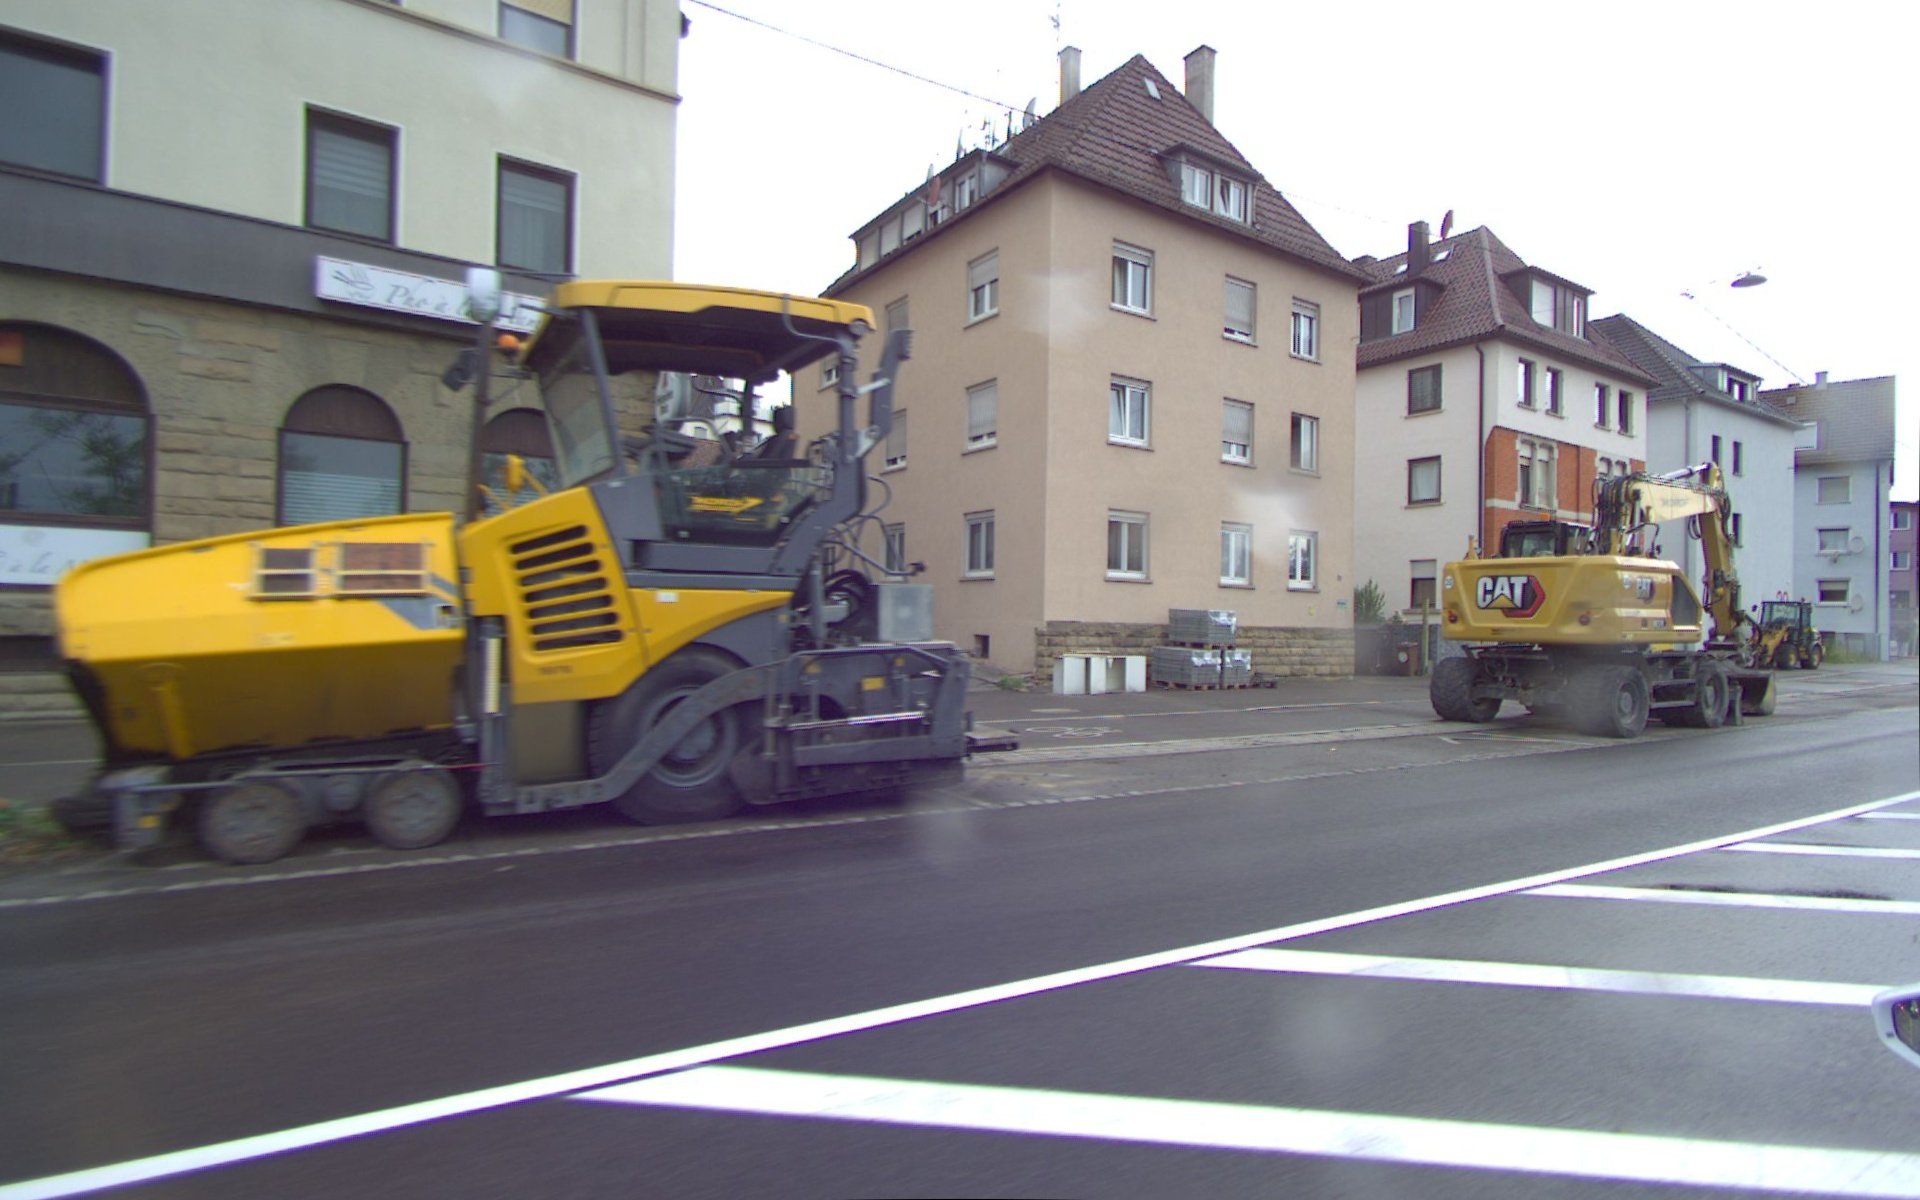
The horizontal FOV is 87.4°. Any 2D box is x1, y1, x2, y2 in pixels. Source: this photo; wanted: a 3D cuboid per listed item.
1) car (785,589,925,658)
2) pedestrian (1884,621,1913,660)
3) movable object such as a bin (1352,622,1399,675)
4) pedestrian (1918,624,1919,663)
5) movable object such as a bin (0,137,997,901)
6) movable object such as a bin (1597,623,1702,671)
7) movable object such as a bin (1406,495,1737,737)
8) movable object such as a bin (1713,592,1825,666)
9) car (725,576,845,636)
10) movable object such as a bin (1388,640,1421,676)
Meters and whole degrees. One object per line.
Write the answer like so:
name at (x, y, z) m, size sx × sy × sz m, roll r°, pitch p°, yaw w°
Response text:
car at (-2.587, 0.490, 23.923) m, size 1.832 × 1.461 × 3.965 m, roll -1°, pitch 1°, yaw -31°
pedestrian at (50.487, 2.163, 54.039) m, size 1.068 × 2.041 × 1.045 m, roll 1°, pitch 2°, yaw 44°
movable object such as a bin at (11.727, 1.357, 28.352) m, size 0.949 × 1.431 × 0.847 m, roll -1°, pitch 2°, yaw -38°
pedestrian at (50.628, 2.281, 52.146) m, size 1.044 × 2.041 × 1.196 m, roll -1°, pitch 2°, yaw -41°
movable object such as a bin at (-2.941, -0.441, 7.801) m, size 5.914 × 3.908 × 2.762 m, roll -1°, pitch 1°, yaw -29°
movable object such as a bin at (22.111, 1.523, 32.169) m, size 3.962 × 1.372 × 1.542 m, roll 3°, pitch -1°, yaw -36°
movable object such as a bin at (9.520, 0.248, 15.676) m, size 4.080 × 3.215 × 2.855 m, roll 2°, pitch 0°, yaw -32°
movable object such as a bin at (31.513, 1.046, 39.102) m, size 4.575 × 2.719 × 1.983 m, roll -1°, pitch 1°, yaw -32°
car at (-4.912, 0.122, 27.799) m, size 1.978 × 1.528 × 3.965 m, roll -1°, pitch 1°, yaw -32°
movable object such as a bin at (12.294, 1.595, 27.774) m, size 0.570 × 0.910 × 0.629 m, roll -1°, pitch 2°, yaw -37°
